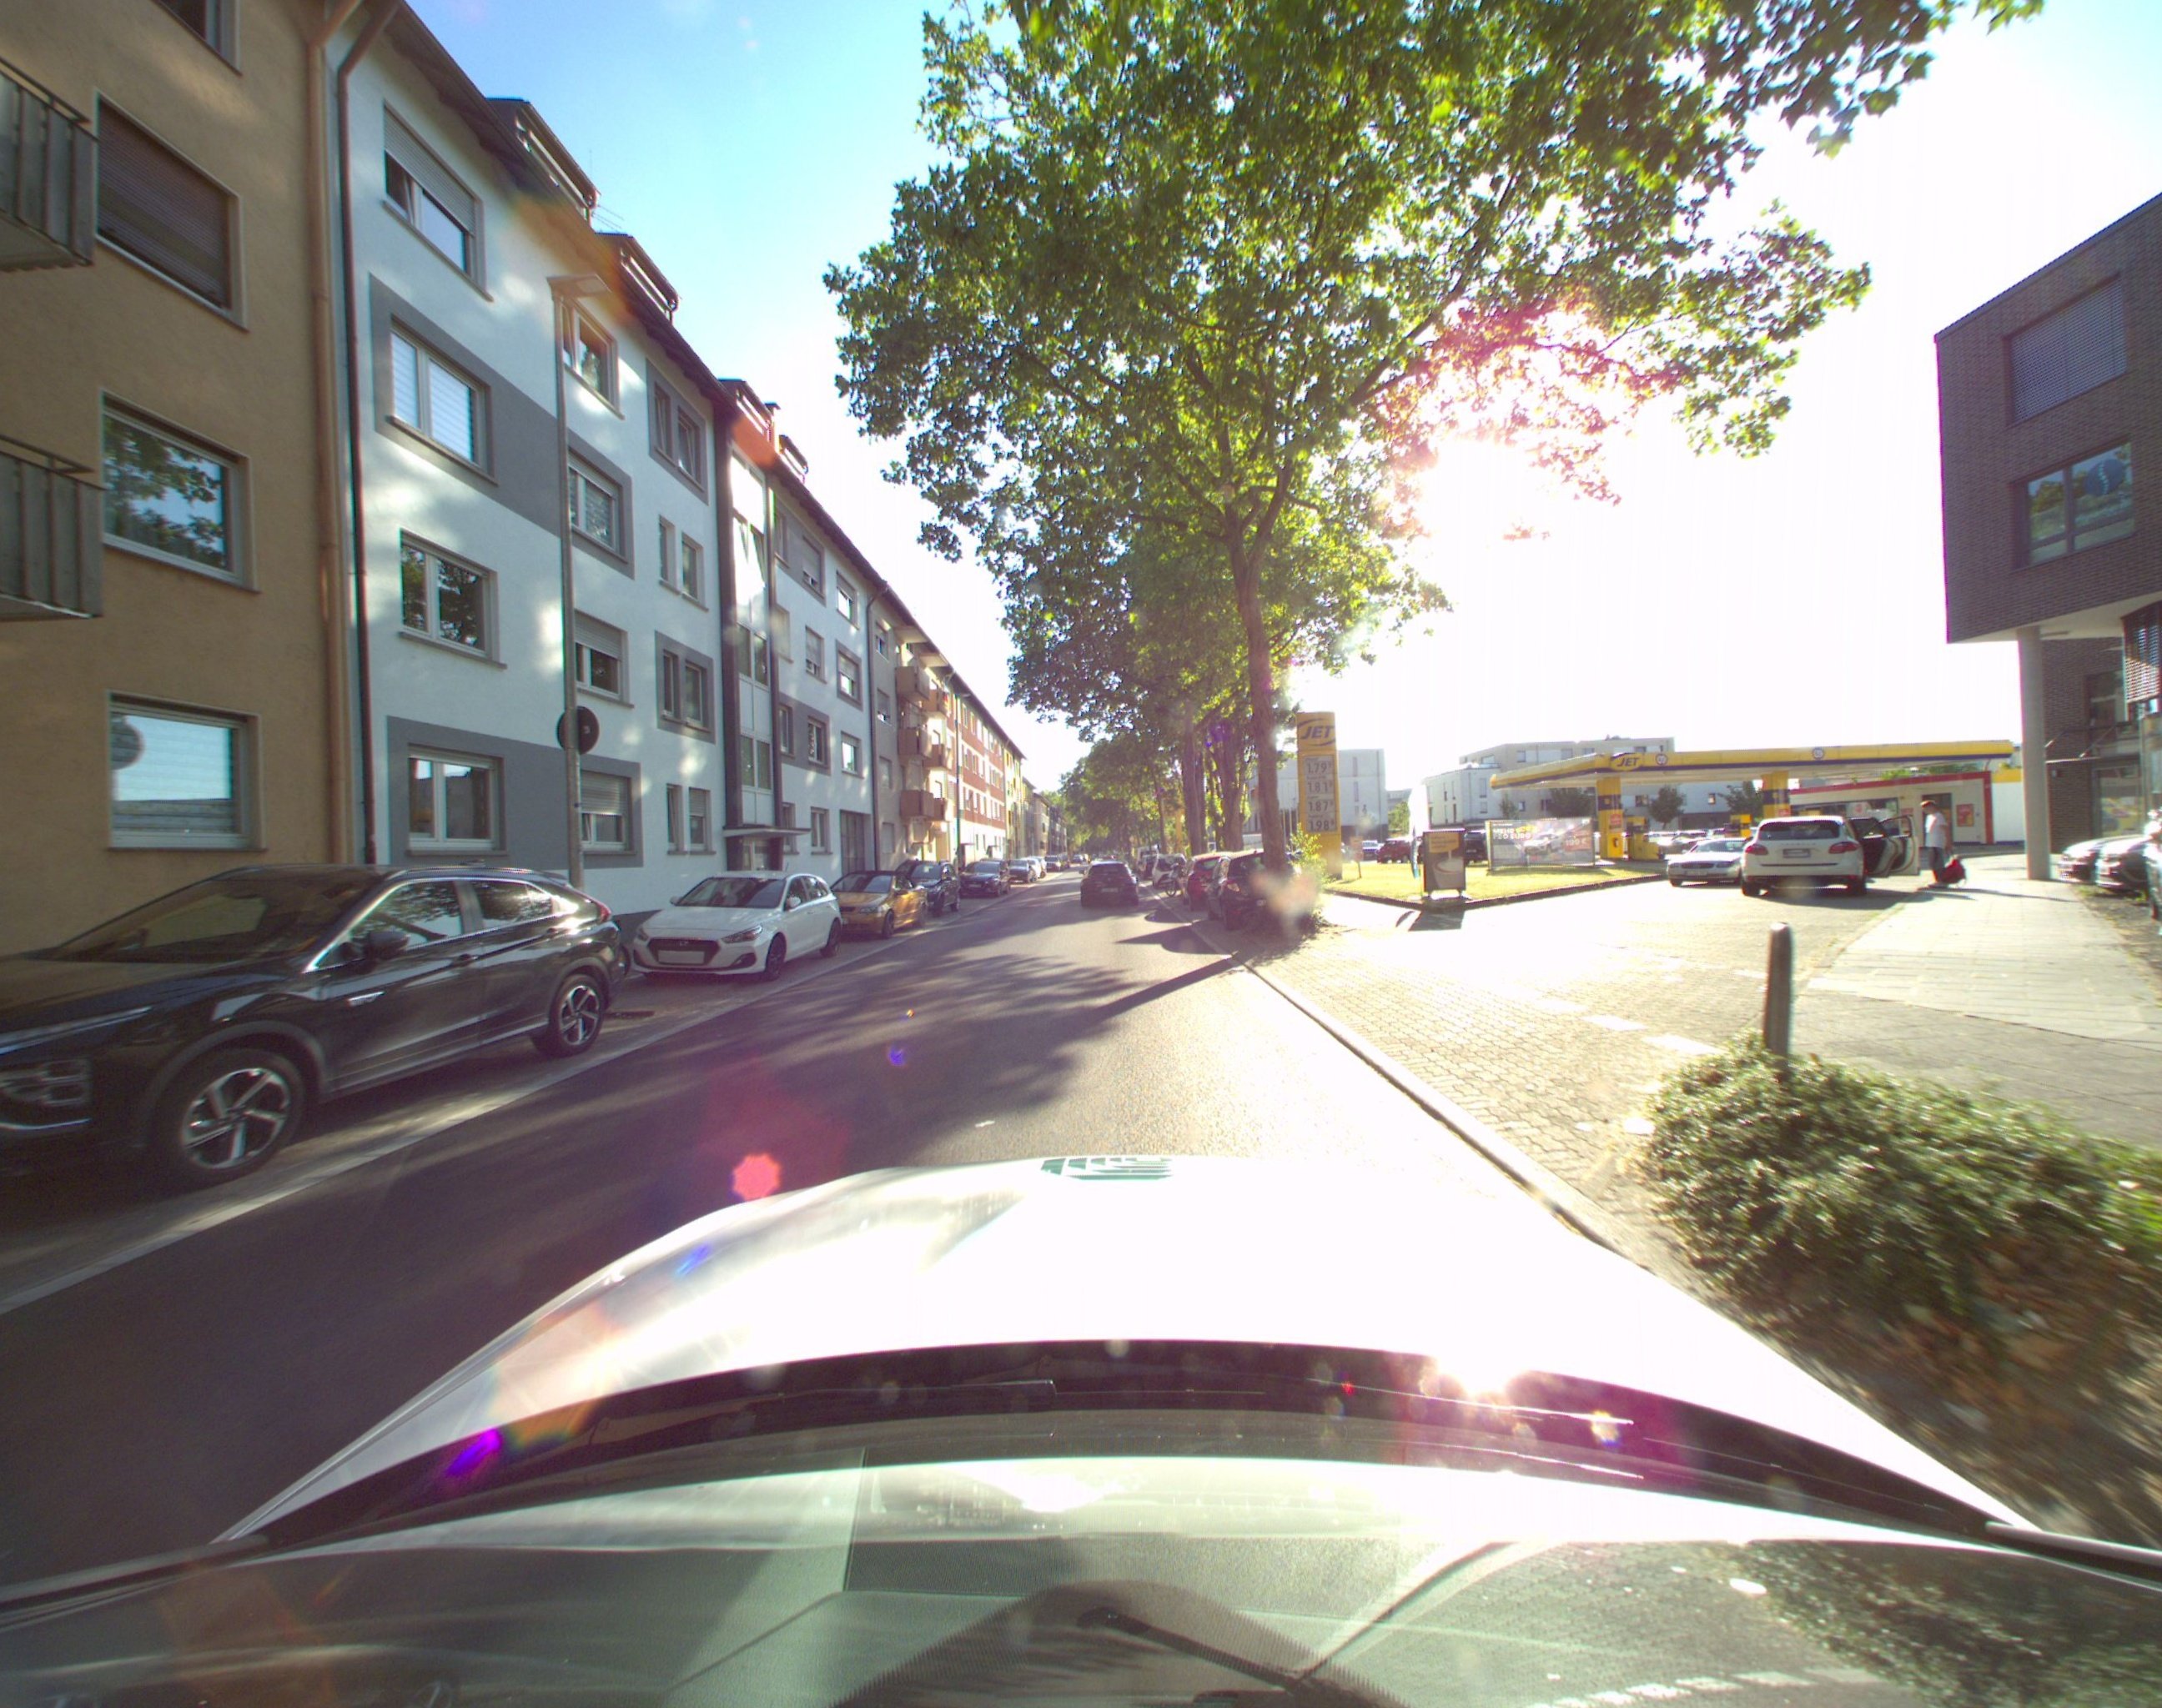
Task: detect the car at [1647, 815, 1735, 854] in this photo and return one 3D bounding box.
[{"bbox_3d":[34.735,-1.067,46.532,1.986,2.013,4.001,-3,0,1],"label":"car"}]

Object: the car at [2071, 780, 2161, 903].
[{"bbox_3d":[16.843,-0.257,11.245,1.875,1.752,3.954,-3,0,-38],"label":"car"}]

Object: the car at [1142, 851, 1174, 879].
[{"bbox_3d":[4.556,0.652,48.456,1.627,1.557,3.602,-1,0,1],"label":"car"}]

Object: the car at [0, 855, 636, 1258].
[{"bbox_3d":[-5.148,0.853,5.602,1.590,1.641,4.415,-1,0,2],"label":"car"}]

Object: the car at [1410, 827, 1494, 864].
[{"bbox_3d":[19.151,-0.445,42.048,3.844,1.711,1.825,-3,0,-25],"label":"car"}]

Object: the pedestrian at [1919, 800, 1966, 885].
[{"bbox_3d":[17.394,-0.237,16.444,0.652,1.677,0.550,-3,0,-39],"label":"pedestrian"}]

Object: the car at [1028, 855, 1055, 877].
[{"bbox_3d":[-3.041,0.917,63.273,1.706,1.562,3.803,2,0,2],"label":"car"}]

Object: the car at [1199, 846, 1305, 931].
[{"bbox_3d":[3.508,0.667,17.274,1.554,1.596,3.602,-1,0,1],"label":"car"}]

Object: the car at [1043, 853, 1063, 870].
[{"bbox_3d":[-2.713,0.689,80.046,1.706,1.562,3.803,2,0,2],"label":"car"}]

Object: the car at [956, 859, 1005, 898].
[{"bbox_3d":[-4.197,1.004,34.536,1.708,1.464,3.794,2,0,-3],"label":"car"}]

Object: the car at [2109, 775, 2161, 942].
[{"bbox_3d":[12.361,-0.040,8.627,4.165,1.602,1.752,-2,0,-39],"label":"car"}]

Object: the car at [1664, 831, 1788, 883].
[{"bbox_3d":[17.794,0.090,22.437,3.578,1.323,1.672,0,-2,-34],"label":"car"}]

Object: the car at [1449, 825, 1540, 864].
[{"bbox_3d":[19.133,-0.462,37.651,3.845,1.588,1.684,-3,0,-25],"label":"car"}]

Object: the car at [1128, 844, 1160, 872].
[{"bbox_3d":[4.757,0.361,61.705,1.988,2.014,3.998,-2,-1,-1],"label":"car"}]

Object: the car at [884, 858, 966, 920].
[{"bbox_3d":[-4.537,0.973,24.205,1.591,1.629,3.839,-1,0,1],"label":"car"}]

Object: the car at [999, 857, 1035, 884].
[{"bbox_3d":[-3.924,0.977,50.499,1.706,1.562,3.803,2,0,2],"label":"car"}]

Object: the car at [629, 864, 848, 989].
[{"bbox_3d":[-4.948,0.952,12.400,1.542,1.523,4.006,-1,0,1],"label":"car"}]

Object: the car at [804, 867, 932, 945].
[{"bbox_3d":[-4.586,1.055,18.186,1.590,1.434,4.219,-1,0,2],"label":"car"}]

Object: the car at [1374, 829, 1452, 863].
[{"bbox_3d":[19.093,-0.469,46.885,3.834,1.711,1.831,-3,0,-16],"label":"car"}]

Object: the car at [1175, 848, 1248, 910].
[{"bbox_3d":[3.625,0.673,23.175,1.554,1.596,3.602,-1,0,1],"label":"car"}]

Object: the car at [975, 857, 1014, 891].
[{"bbox_3d":[-4.292,0.950,40.983,1.708,1.562,3.794,2,0,-3],"label":"car"}]

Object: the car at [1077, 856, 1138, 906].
[{"bbox_3d":[0.923,0.810,26.324,1.736,1.443,3.975,-1,0,5],"label":"car"}]

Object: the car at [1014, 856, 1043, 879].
[{"bbox_3d":[-3.736,0.925,58.426,1.706,1.562,3.803,2,0,2],"label":"car"}]

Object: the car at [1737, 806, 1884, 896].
[{"bbox_3d":[15.989,-0.093,17.831,2.134,1.719,4.024,-3,0,44],"label":"car"}]

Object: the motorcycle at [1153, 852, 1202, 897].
[{"bbox_3d":[3.444,0.718,29.181,1.647,1.557,0.607,0,-1,-20],"label":"motorcycle"}]

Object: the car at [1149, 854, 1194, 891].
[{"bbox_3d":[3.994,0.795,36.399,1.716,1.557,3.602,-1,0,1],"label":"car"}]

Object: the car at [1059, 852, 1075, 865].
[{"bbox_3d":[-1.730,0.498,101.142,1.706,1.562,3.803,2,0,2],"label":"car"}]

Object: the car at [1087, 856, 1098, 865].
[{"bbox_3d":[2.197,1.203,150.033,1.895,1.661,4.001,-2,-1,1],"label":"car"}]

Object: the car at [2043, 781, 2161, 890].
[{"bbox_3d":[18.503,-0.357,13.005,1.875,1.752,3.954,-3,0,-39],"label":"car"}]

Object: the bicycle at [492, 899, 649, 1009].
[{"bbox_3d":[-6.089,1.152,9.837,0.552,1.086,1.719,-3,0,10],"label":"bicycle"}]

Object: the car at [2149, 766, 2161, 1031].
[{"bbox_3d":[8.262,0.164,5.108,3.836,1.578,1.727,-4,1,-35],"label":"car"}]

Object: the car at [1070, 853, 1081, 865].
[{"bbox_3d":[-0.951,0.925,145.603,1.900,1.948,4.001,-2,-1,1],"label":"car"}]

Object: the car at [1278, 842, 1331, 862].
[{"bbox_3d":[18.878,-0.166,68.962,3.974,1.529,1.807,-2,-1,0],"label":"car"}]
